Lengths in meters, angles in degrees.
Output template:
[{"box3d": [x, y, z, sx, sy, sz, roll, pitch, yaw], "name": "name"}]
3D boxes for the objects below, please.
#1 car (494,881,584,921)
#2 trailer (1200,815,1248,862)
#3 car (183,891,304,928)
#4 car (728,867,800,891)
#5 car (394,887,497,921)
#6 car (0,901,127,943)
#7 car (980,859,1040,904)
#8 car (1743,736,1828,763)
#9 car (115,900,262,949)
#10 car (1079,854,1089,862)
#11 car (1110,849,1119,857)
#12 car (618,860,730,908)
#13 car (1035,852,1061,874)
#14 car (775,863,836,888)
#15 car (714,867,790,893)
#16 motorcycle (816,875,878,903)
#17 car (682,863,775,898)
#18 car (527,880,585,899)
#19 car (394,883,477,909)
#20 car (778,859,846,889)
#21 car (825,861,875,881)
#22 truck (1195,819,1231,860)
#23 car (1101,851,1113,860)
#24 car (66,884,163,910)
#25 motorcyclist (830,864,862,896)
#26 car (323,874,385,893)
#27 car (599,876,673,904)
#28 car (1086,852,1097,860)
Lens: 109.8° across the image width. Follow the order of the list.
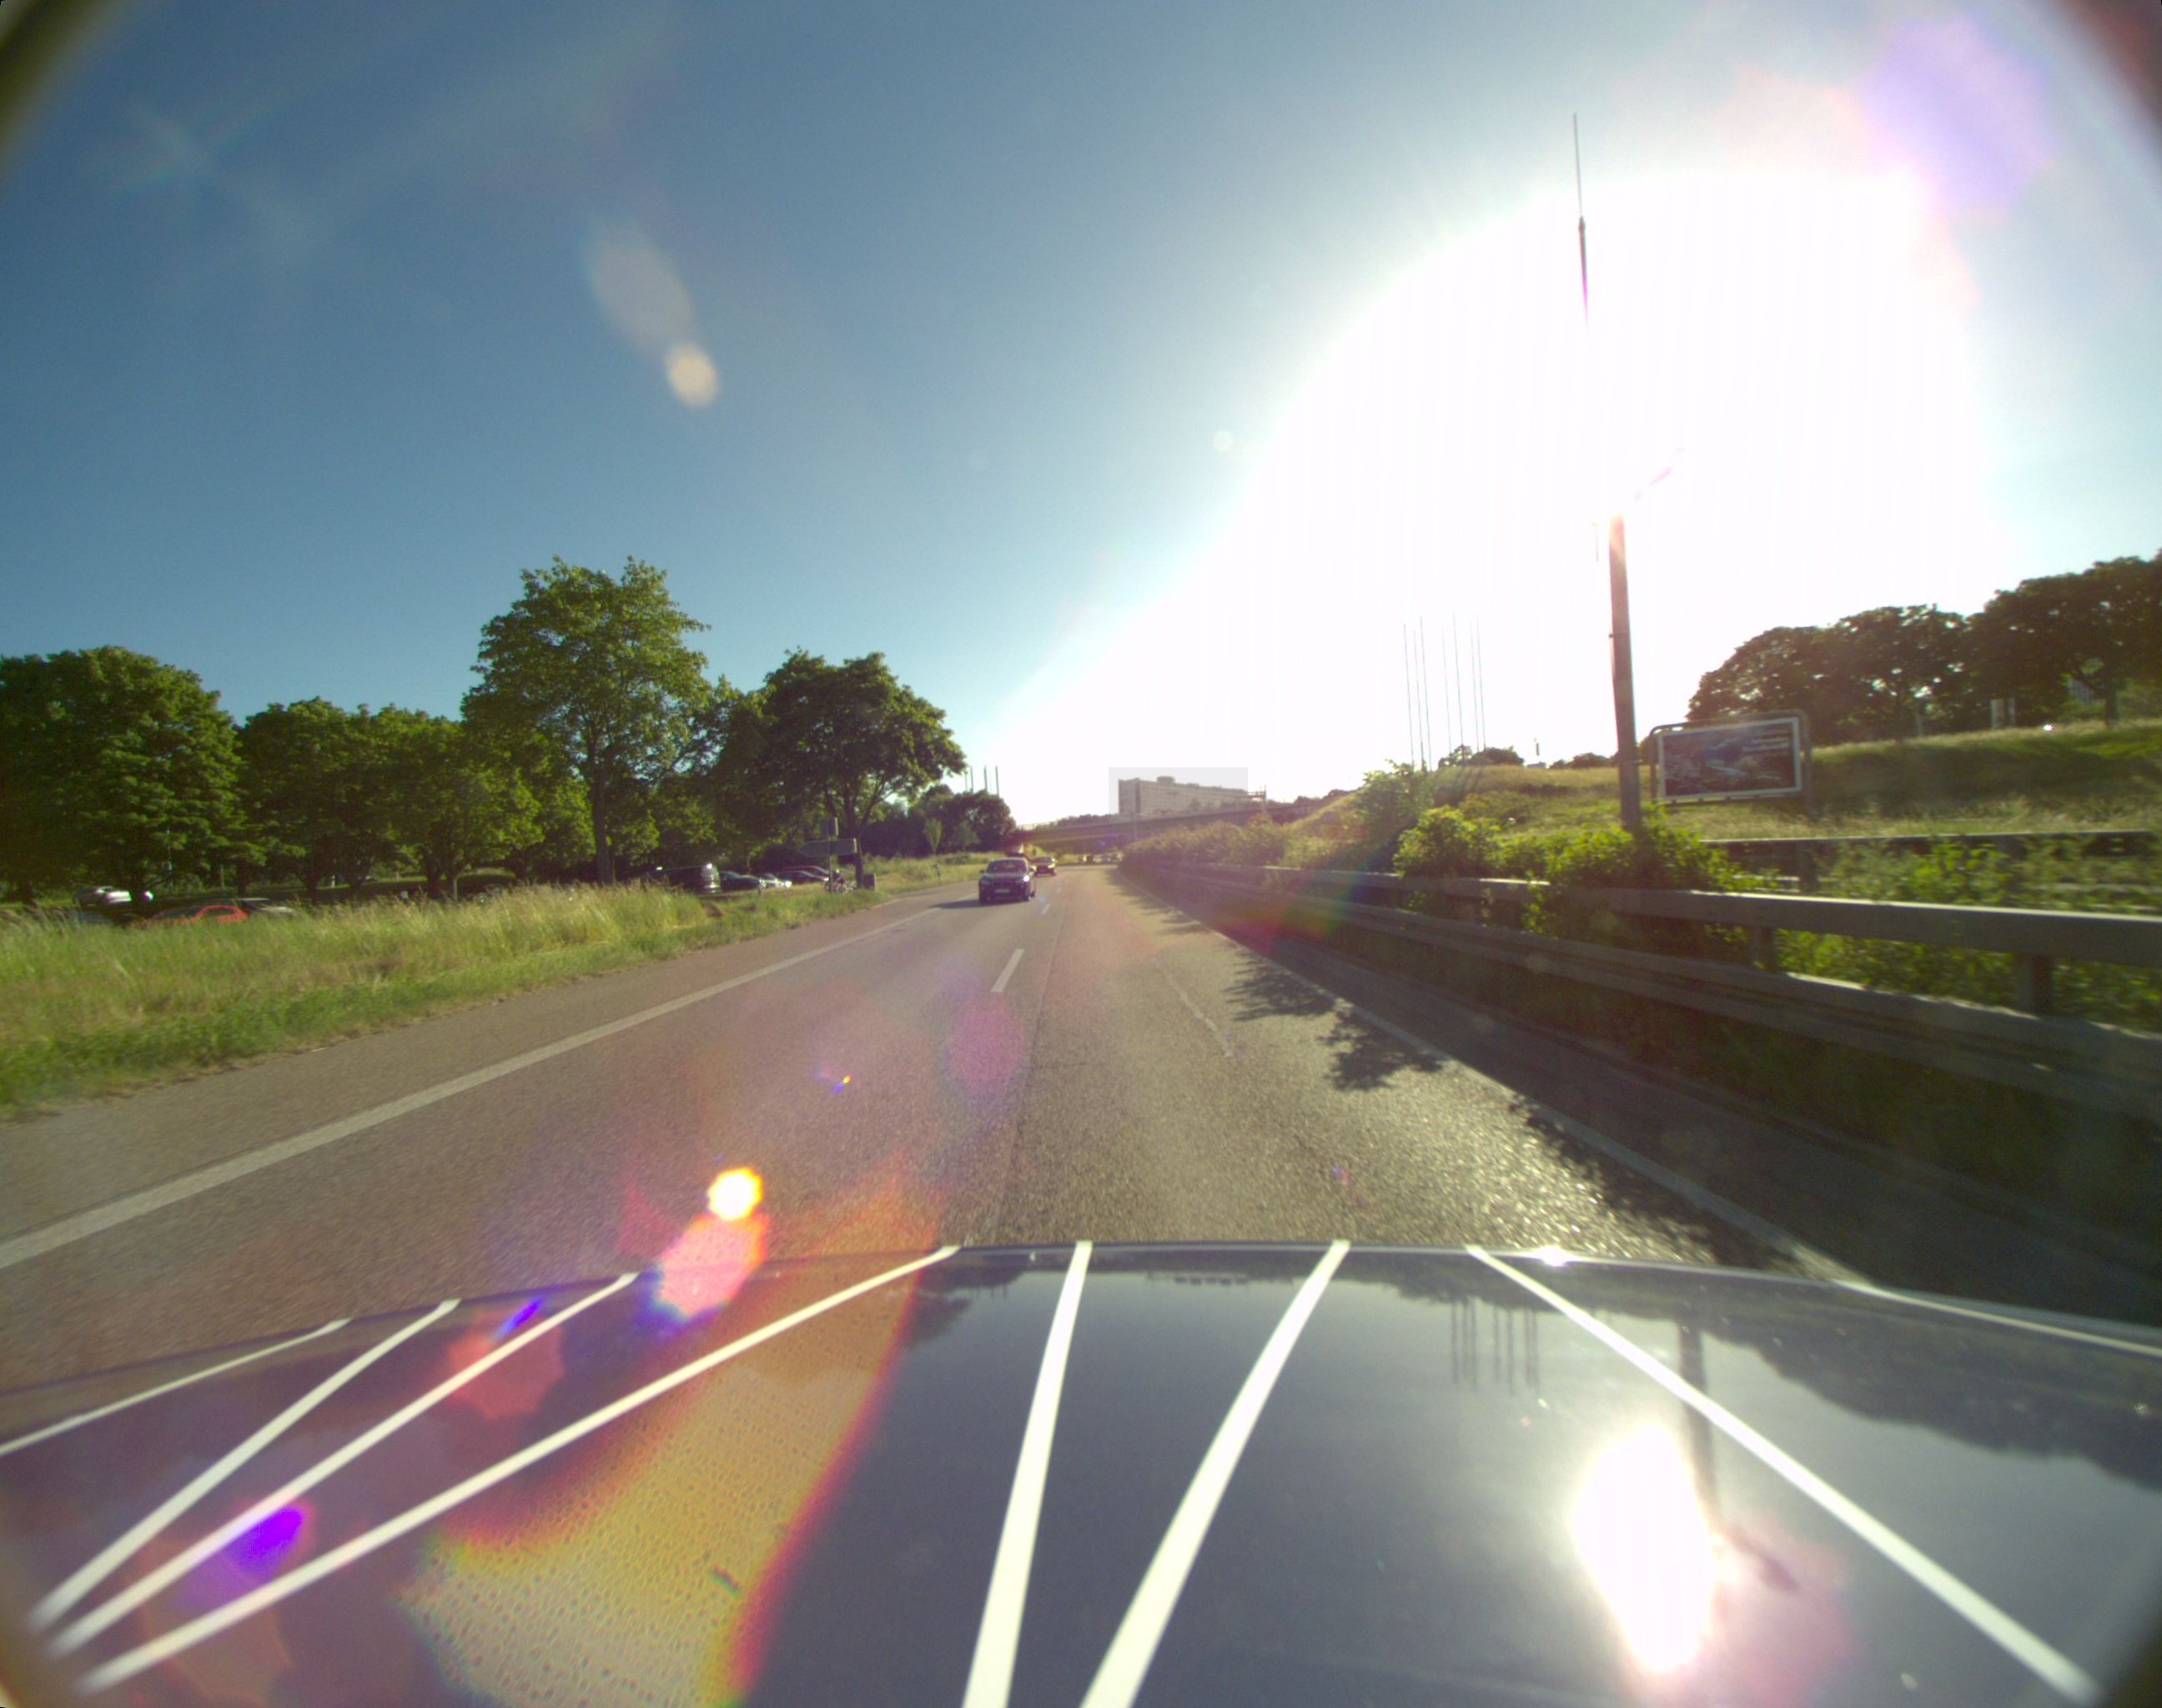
[{"box3d": [-25.462, 2.209, 35.674, 4.216, 1.551, 1.790, -4, 2, 32], "name": "car"}, {"box3d": [13.763, -1.398, 74.160, 2.655, 4.099, 10.699, -3, 0, 1], "name": "trailer"}, {"box3d": [-51.648, 3.422, 46.926, 5.204, 1.855, 1.957, -2, 2, 0], "name": "car"}, {"box3d": [-22.657, 1.758, 54.440, 4.222, 1.210, 1.961, -5, 1, 2], "name": "car"}, {"box3d": [-40.777, 3.195, 48.791, 4.866, 1.548, 2.039, -5, 2, 3], "name": "car"}, {"box3d": [-48.877, 3.237, 35.946, 4.232, 1.551, 1.784, -4, 1, -31], "name": "car"}, {"box3d": [-2.547, 0.936, 28.154, 1.703, 1.497, 4.579, -1, 0, 1], "name": "car"}, {"box3d": [74.190, -10.980, 80.129, 2.551, 2.002, 6.087, -2, 0, -17], "name": "car"}, {"box3d": [-35.137, 2.720, 30.096, 1.704, 1.454, 4.143, -4, 1, -16], "name": "car"}, {"box3d": [0.704, 0.839, 157.249, 1.867, 1.681, 4.000, -2, 1, 2], "name": "car"}, {"box3d": [6.874, -0.220, 154.481, 1.682, 1.412, 3.670, -3, 1, 4], "name": "car"}, {"box3d": [-22.674, 1.631, 42.413, 5.043, 2.124, 2.094, -5, 2, 8], "name": "car"}, {"box3d": [-2.621, 0.701, 61.078, 1.759, 1.564, 4.520, -2, 1, 2], "name": "car"}, {"box3d": [-21.807, 1.715, 60.263, 4.017, 1.492, 1.960, -5, 2, 0], "name": "car"}, {"box3d": [-22.478, 1.753, 52.038, 4.222, 1.303, 1.960, -5, 1, 0], "name": "car"}, {"box3d": [-10.937, 1.624, 35.660, 0.817, 1.063, 2.841, -2, 1, 33], "name": "motorcycle"}, {"box3d": [-22.731, 1.681, 49.173, 4.868, 1.669, 2.223, -5, 2, -3], "name": "car"}, {"box3d": [-50.007, 3.373, 72.449, 4.121, 1.416, 1.865, -3, 4, -2], "name": "car"}, {"box3d": [-51.191, 3.305, 60.313, 4.598, 1.766, 1.945, -2, 2, -6], "name": "car"}, {"box3d": [-22.171, 1.607, 62.728, 4.802, 2.012, 2.025, -3, 4, -2], "name": "car"}, {"box3d": [-21.502, 1.601, 70.887, 3.942, 1.452, 1.923, -3, 4, -2], "name": "car"}, {"box3d": [13.884, -1.474, 80.290, 2.655, 4.099, 5.561, -3, 0, 1], "name": "truck"}, {"box3d": [4.192, 0.226, 122.668, 1.725, 1.412, 3.670, -3, 1, 4], "name": "car"}, {"box3d": [-72.163, 3.181, 56.831, 1.908, 1.567, 4.001, -3, 0, 4], "name": "car"}, {"box3d": [-10.994, 1.221, 35.607, 0.817, 1.439, 1.095, -2, 1, 32], "name": "motorcyclist"}, {"box3d": [-71.466, 2.873, 74.783, 1.907, 1.567, 4.003, -3, 0, 11], "name": "car"}, {"box3d": [-33.055, 2.658, 56.534, 4.295, 1.502, 1.739, -5, 2, -1], "name": "car"}, {"box3d": [1.955, 0.350, 136.759, 1.682, 1.412, 3.670, -3, 1, 3], "name": "car"}]
